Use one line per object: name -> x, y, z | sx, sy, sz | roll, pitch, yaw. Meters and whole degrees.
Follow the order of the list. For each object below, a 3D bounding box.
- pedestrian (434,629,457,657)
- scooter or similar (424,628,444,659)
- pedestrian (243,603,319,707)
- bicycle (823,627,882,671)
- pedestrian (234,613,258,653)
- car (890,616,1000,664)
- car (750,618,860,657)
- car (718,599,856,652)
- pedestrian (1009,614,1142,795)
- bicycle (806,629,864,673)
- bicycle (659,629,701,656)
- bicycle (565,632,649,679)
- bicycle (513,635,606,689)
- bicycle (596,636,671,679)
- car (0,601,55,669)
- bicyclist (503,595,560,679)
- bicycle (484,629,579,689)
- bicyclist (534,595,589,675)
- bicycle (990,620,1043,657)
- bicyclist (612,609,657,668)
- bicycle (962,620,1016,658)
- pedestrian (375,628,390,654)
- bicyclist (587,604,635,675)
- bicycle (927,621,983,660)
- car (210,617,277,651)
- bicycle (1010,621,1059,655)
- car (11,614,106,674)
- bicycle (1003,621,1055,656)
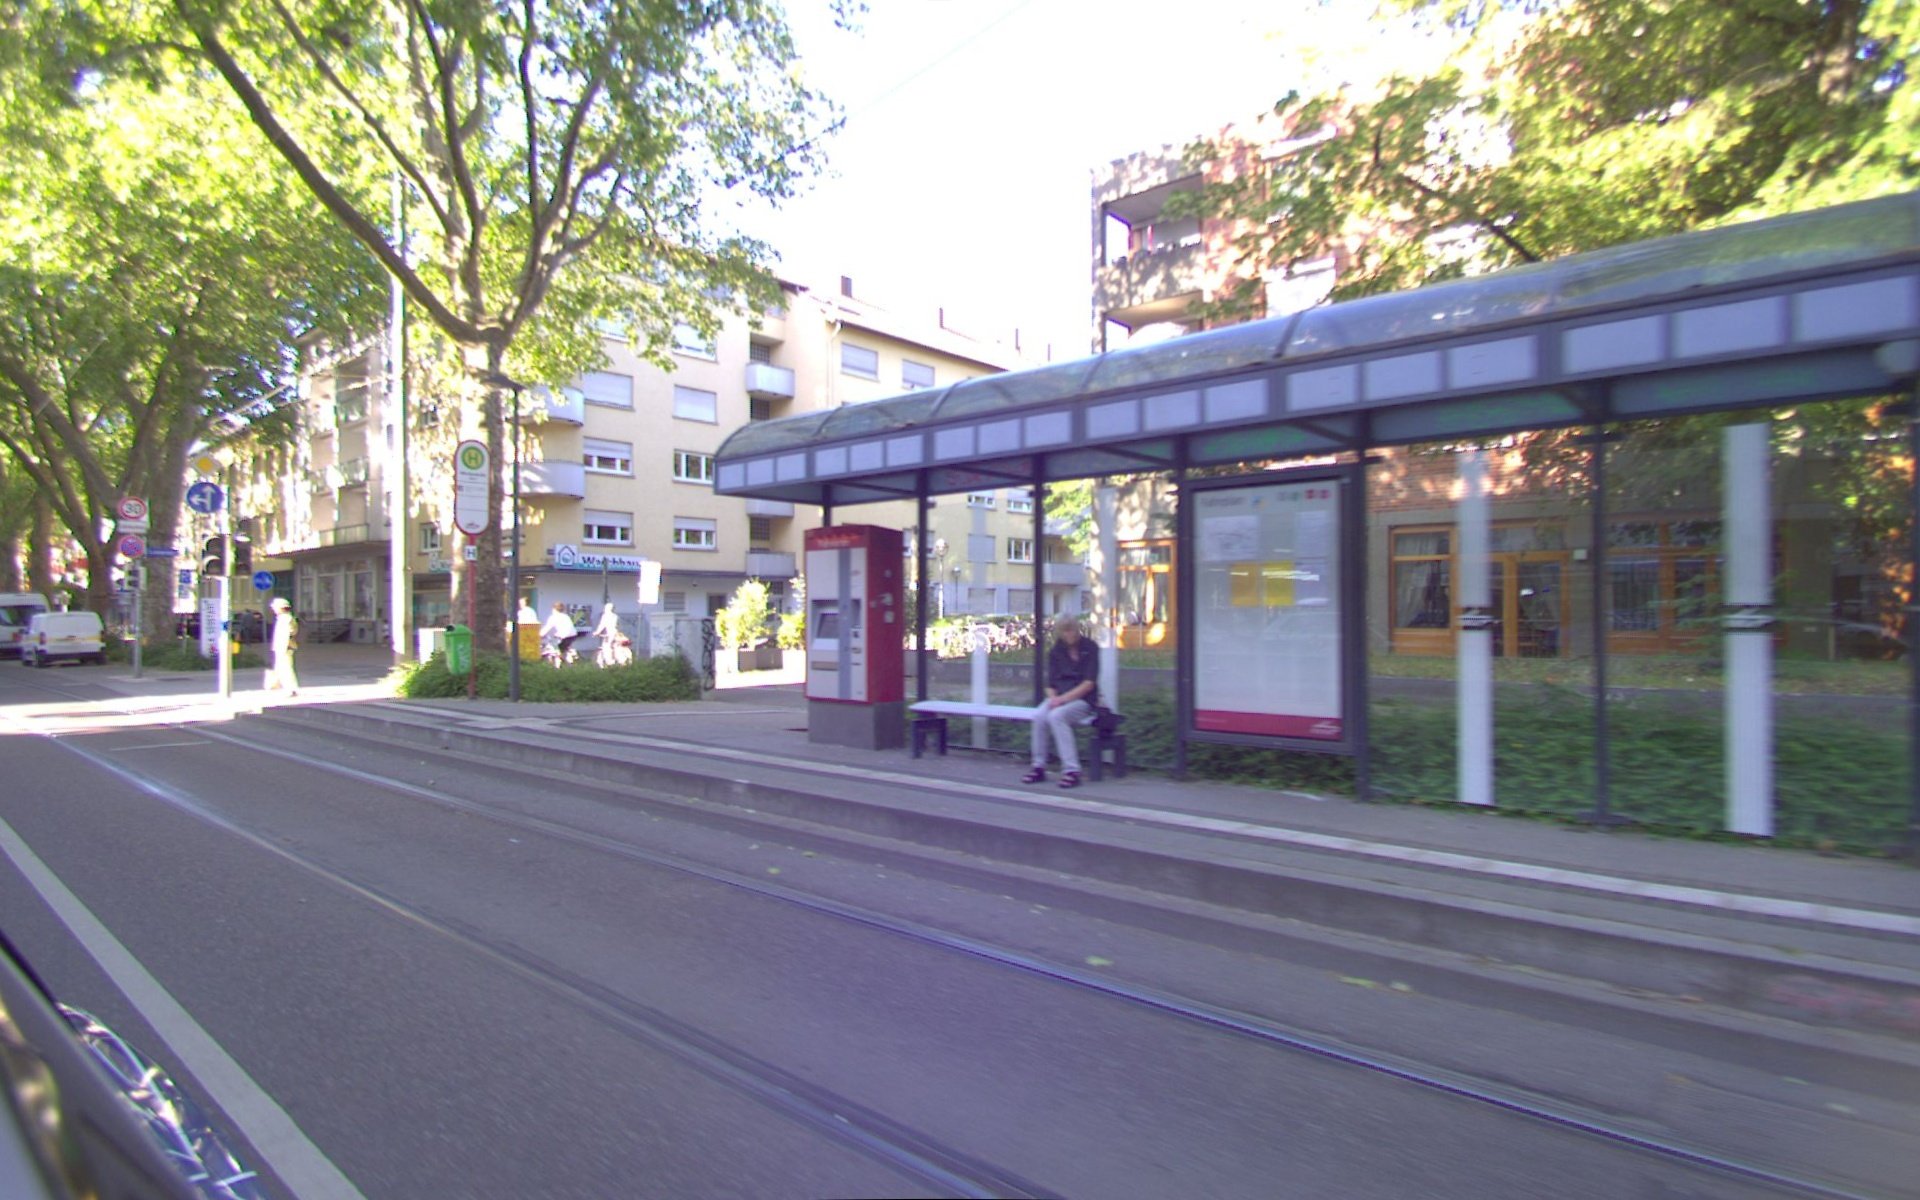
pedestrian -> -20.216, 1.680, 39.735 | 0.710, 1.055, 0.572 | -1, 0, 40
scooter or similar -> -20.655, 1.703, 39.760 | 0.633, 1.176, 0.677 | -1, 0, -23
pedestrian -> -12.519, 0.981, 18.674 | 0.919, 1.849, 0.915 | -1, 0, 37
bicycle -> -2.840, 1.286, 26.644 | 1.637, 1.092, 0.536 | -4, -2, 40
pedestrian -> -34.746, 1.594, 49.240 | 0.863, 1.883, 0.737 | -1, 0, 39
car -> -0.506, 1.430, 37.428 | 1.959, 1.674, 3.947 | -1, -1, 40
car -> -6.063, 1.428, 39.909 | 1.998, 1.386, 3.947 | -1, 0, 40
car -> -5.385, 0.763, 31.812 | 1.998, 1.519, 3.947 | -1, 0, 40
pedestrian -> 0.817, 0.694, 7.098 | 0.658, 1.177, 0.698 | -1, -2, 38
bicycle -> -3.238, 1.322, 26.168 | 1.535, 1.092, 0.536 | -4, -3, 40
bicycle -> -11.587, 1.754, 41.886 | 0.543, 1.092, 1.616 | -3, -2, 42
bicycle -> -9.170, 1.411, 26.231 | 2.593, 1.119, 0.775 | -1, 0, 39
bicycle -> -9.124, 1.377, 22.983 | 2.593, 1.119, 0.775 | -1, 0, 39
bicycle -> -8.826, 1.541, 27.303 | 2.207, 1.078, 0.674 | -1, 0, 32
car -> -38.775, 1.376, 41.382 | 6.024, 2.597, 2.085 | -1, 0, 43
bicyclist -> -9.312, 0.793, 22.003 | 0.950, 1.776, 0.775 | -1, 0, 38
bicycle -> -9.355, 1.243, 22.033 | 2.593, 1.200, 0.775 | -1, 0, 39
bicyclist -> -9.005, 0.778, 22.878 | 0.996, 1.763, 0.767 | -1, 0, 39
bicycle -> 1.759, 1.185, 31.551 | 1.637, 1.092, 0.536 | -1, 0, 40
bicyclist -> -8.784, 1.019, 27.278 | 0.990, 1.559, 0.674 | -1, 0, 33
bicycle -> 0.875, 1.173, 30.560 | 1.637, 1.092, 0.536 | -1, 0, 40
pedestrian -> -25.454, 1.812, 44.612 | 0.436, 1.114, 0.417 | -1, 0, 31
bicyclist -> -9.001, 1.004, 26.099 | 0.996, 1.763, 0.767 | -1, 0, 39
bicycle -> -0.157, 1.184, 29.577 | 1.637, 1.092, 0.536 | -2, -2, 40
car -> -39.656, 1.823, 55.959 | 4.896, 1.746, 1.972 | -1, 0, 42
bicycle -> 2.507, 1.263, 34.125 | 1.637, 1.092, 0.536 | -1, 0, 40
car -> -30.455, 1.440, 34.133 | 4.314, 1.864, 1.746 | -1, 0, 39
bicycle -> 2.188, 1.205, 32.129 | 1.637, 1.092, 0.536 | -1, 0, 40
